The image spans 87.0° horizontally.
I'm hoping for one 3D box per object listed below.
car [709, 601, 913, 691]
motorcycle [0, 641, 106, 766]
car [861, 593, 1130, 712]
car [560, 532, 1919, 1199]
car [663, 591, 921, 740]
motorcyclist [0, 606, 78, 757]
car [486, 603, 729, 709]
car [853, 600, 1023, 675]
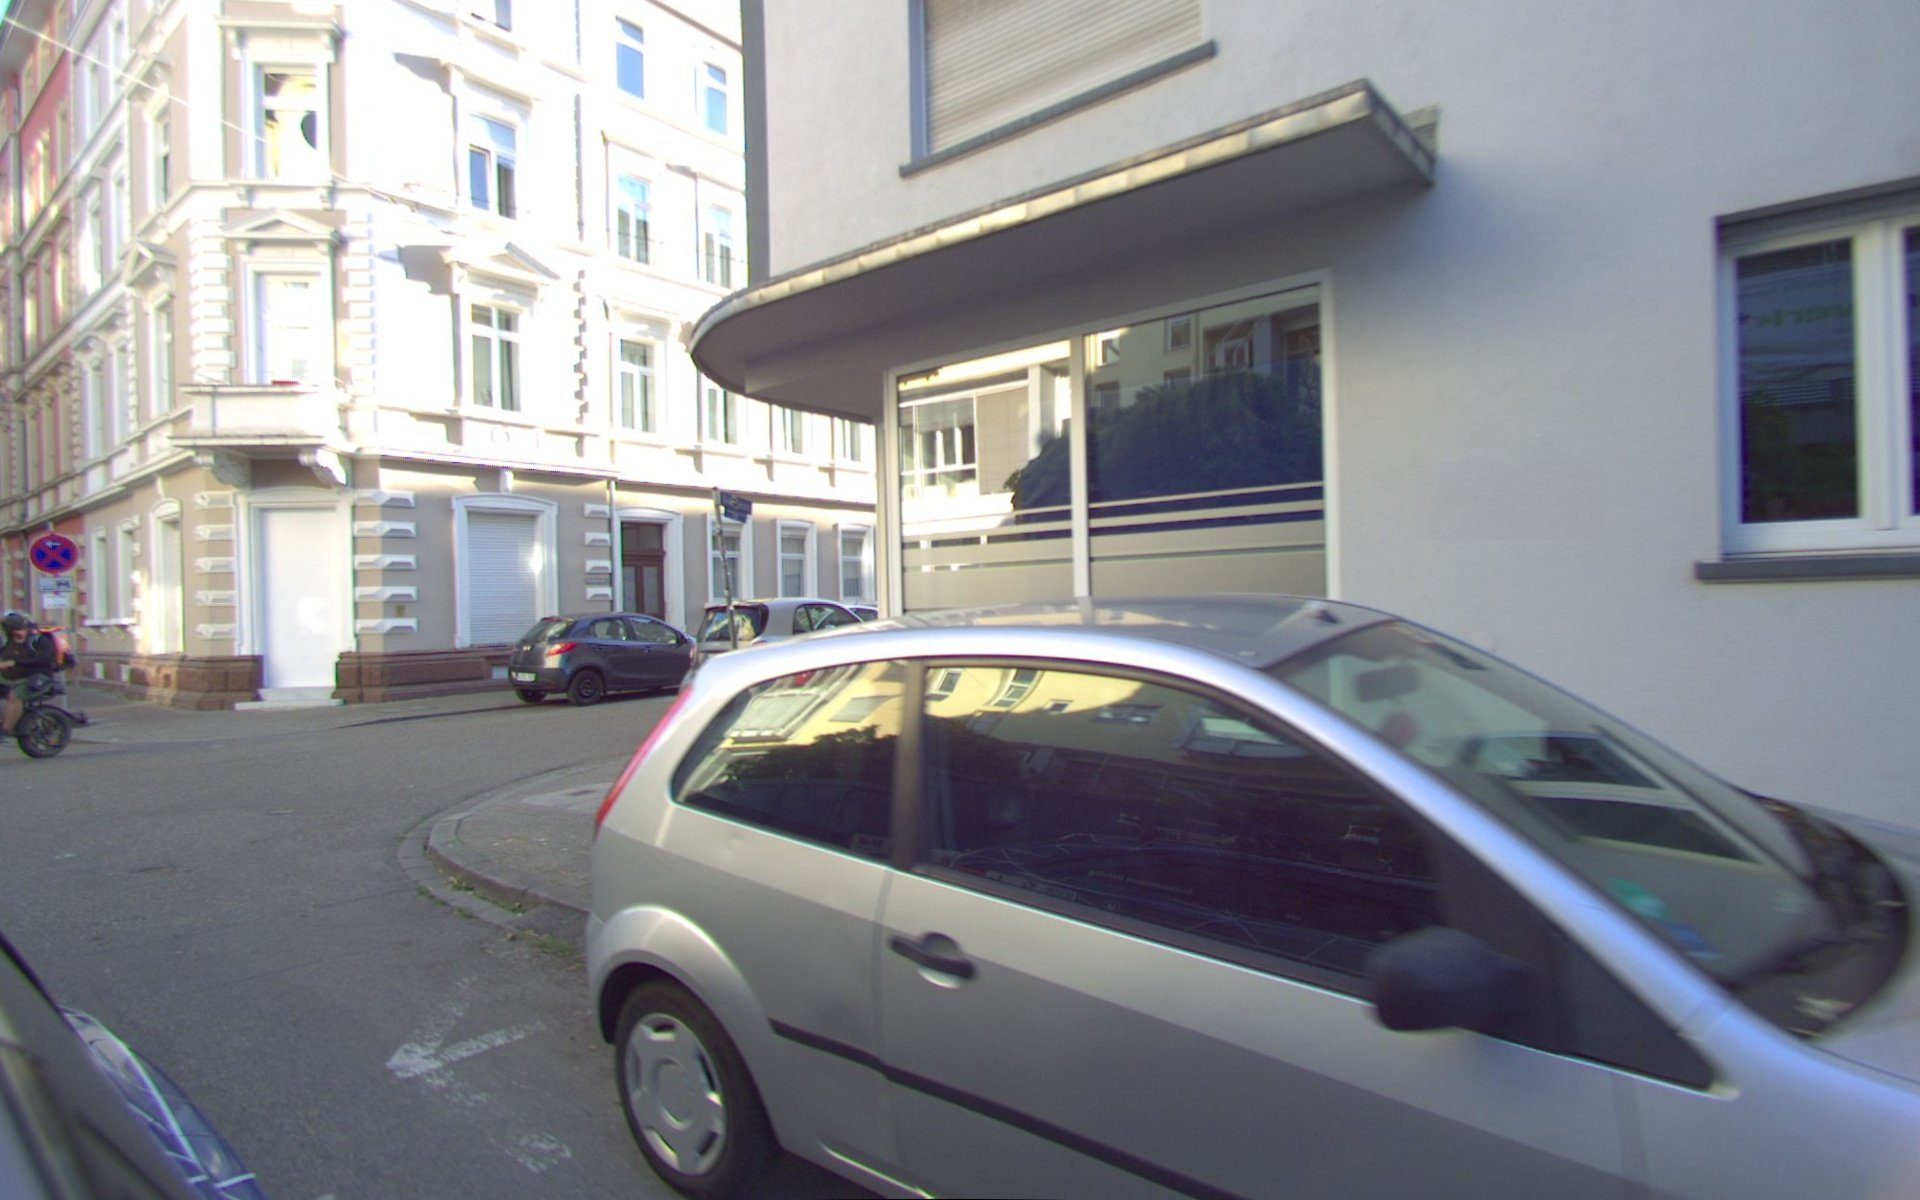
[{"bbox_3d":[-2.963,0.871,20.896,1.832,1.572,4.043,-2,0,36],"label":"car"},{"bbox_3d":[-10.491,1.140,10.998,0.798,1.259,1.693,-4,0,9],"label":"motorcycle"},{"bbox_3d":[0.681,0.698,15.430,1.966,1.464,4.209,-2,0,39],"label":"car"},{"bbox_3d":[0.863,0.653,2.235,3.549,1.441,1.617,-2,0,37],"label":"car"},{"bbox_3d":[-2.016,0.720,12.562,1.647,1.577,2.727,-2,0,39],"label":"car"},{"bbox_3d":[-10.518,0.895,11.018,0.865,1.579,0.997,-4,0,9],"label":"motorcyclist"},{"bbox_3d":[-5.805,0.864,17.031,1.682,1.490,3.549,-2,0,33],"label":"car"},{"bbox_3d":[-0.449,0.850,24.439,2.006,1.572,4.043,-2,0,37],"label":"car"}]
